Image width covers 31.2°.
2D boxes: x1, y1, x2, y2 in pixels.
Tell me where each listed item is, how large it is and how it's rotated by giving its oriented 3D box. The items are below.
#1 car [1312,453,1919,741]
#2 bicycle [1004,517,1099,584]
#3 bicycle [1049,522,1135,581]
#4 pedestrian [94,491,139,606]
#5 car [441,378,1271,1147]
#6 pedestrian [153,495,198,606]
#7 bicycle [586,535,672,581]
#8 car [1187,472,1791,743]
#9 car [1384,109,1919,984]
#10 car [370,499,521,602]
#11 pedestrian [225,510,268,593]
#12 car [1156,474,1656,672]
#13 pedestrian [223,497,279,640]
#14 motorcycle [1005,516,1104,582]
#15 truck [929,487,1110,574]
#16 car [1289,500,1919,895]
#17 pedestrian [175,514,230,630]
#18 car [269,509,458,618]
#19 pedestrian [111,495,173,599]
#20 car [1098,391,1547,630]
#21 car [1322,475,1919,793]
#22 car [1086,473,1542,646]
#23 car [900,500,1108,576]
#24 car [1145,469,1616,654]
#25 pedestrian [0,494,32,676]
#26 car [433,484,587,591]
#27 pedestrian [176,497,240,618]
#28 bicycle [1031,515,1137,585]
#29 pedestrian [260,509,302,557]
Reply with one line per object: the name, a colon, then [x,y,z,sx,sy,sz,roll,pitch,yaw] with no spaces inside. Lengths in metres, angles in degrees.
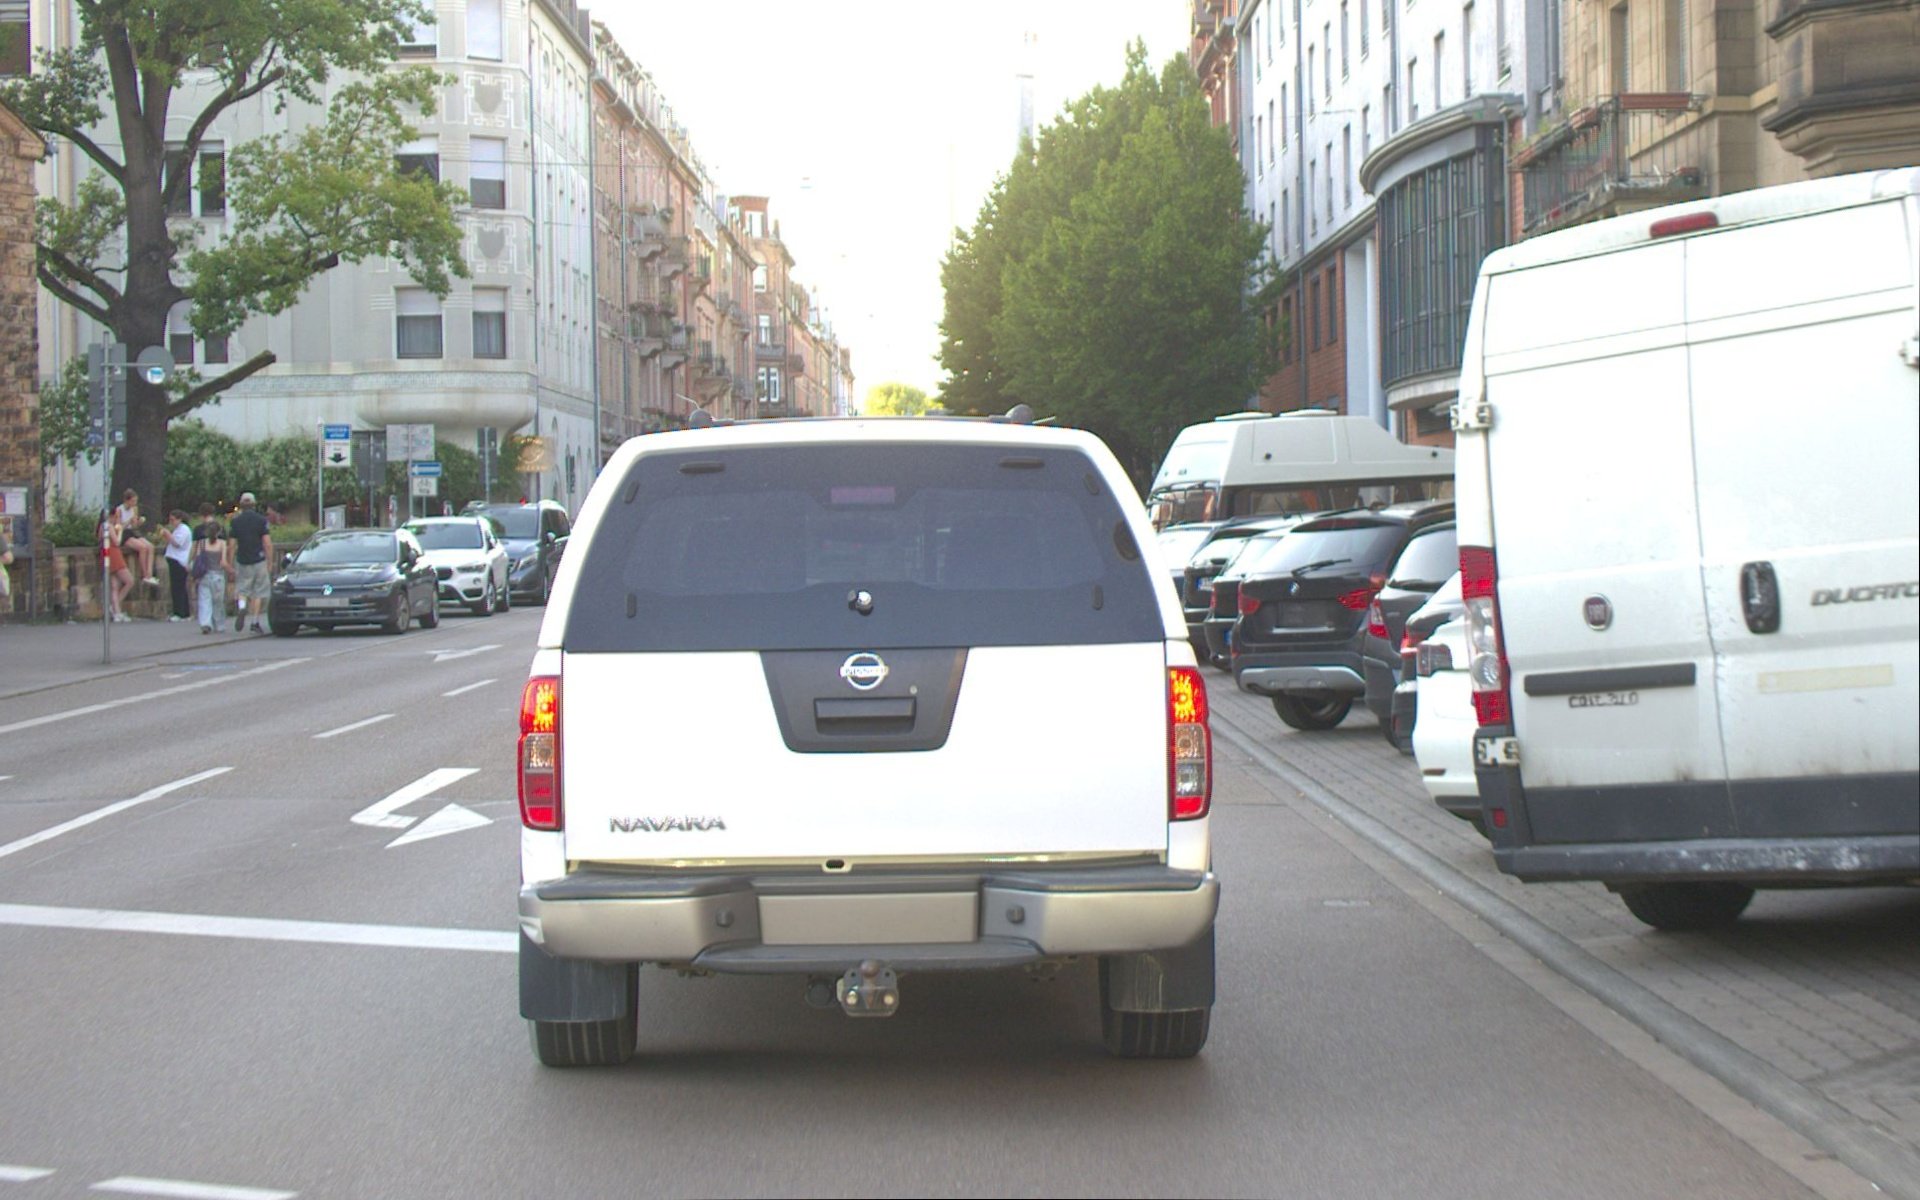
car: [4.241,-0.043,21.718,3.906,1.539,1.716,-4,1,-41]
bicycle: [1.717,-0.938,64.508,1.707,1.172,0.472,-3,1,-1]
bicycle: [2.495,-0.921,65.062,1.539,1.035,0.472,-3,1,-1]
pedestrian: [-12.334,-0.760,50.252,0.414,1.669,0.548,-2,2,-39]
car: [-0.264,0.318,10.453,1.933,1.788,4.622,-1,2,-1]
pedestrian: [-11.562,-0.730,50.672,0.414,1.616,0.548,-2,2,-39]
bicycle: [-8.119,-1.025,84.243,2.113,1.091,0.500,1,3,25]
car: [3.778,0.016,24.248,4.087,1.602,1.816,-4,2,-38]
car: [4.430,-0.259,12.606,5.868,2.543,2.195,-4,0,-41]
car: [-8.357,-0.835,56.174,1.871,1.586,4.469,-1,1,-2]
pedestrian: [-14.909,-1.017,71.848,0.706,1.715,0.837,-1,1,-2]
car: [3.913,-0.245,29.955,4.022,1.427,1.868,-5,2,-34]
pedestrian: [-9.556,-0.434,46.377,0.582,1.899,0.803,-1,1,-3]
motorcycle: [1.710,-0.924,62.380,1.644,1.098,0.647,-4,2,-8]
truck: [2.121,-2.435,121.732,6.320,2.966,2.264,0,-1,2]
car: [3.726,0.316,15.283,4.242,1.448,1.999,-4,2,-38]
pedestrian: [-10.210,-0.388,46.350,0.582,1.546,0.839,0,1,-3]
car: [-8.298,-0.543,48.167,1.783,1.430,4.316,-1,1,1]
pedestrian: [-12.154,-0.793,51.098,0.651,1.540,0.585,0,1,24]
car: [4.079,-1.016,38.530,4.710,2.538,1.918,-2,1,-29]
car: [4.037,0.126,18.496,3.905,1.441,1.874,-4,1,-39]
car: [3.684,-0.435,35.618,4.385,1.481,1.844,-5,2,-30]
car: [0.925,-1.312,72.172,3.987,1.501,1.770,-2,2,-29]
car: [4.030,-0.375,32.889,4.108,1.540,1.795,-3,0,-28]
pedestrian: [-10.102,-0.163,35.785,0.646,1.873,0.891,-1,1,-3]
car: [-8.224,-1.181,63.289,1.993,1.860,5.290,-1,2,1]
pedestrian: [-10.830,-0.610,49.524,0.714,1.719,0.692,-1,1,1]
bicycle: [2.285,-0.925,63.585,1.859,1.142,0.659,-4,2,0]
pedestrian: [-14.184,-1.397,71.839,0.706,0.977,0.837,-1,1,-2]
